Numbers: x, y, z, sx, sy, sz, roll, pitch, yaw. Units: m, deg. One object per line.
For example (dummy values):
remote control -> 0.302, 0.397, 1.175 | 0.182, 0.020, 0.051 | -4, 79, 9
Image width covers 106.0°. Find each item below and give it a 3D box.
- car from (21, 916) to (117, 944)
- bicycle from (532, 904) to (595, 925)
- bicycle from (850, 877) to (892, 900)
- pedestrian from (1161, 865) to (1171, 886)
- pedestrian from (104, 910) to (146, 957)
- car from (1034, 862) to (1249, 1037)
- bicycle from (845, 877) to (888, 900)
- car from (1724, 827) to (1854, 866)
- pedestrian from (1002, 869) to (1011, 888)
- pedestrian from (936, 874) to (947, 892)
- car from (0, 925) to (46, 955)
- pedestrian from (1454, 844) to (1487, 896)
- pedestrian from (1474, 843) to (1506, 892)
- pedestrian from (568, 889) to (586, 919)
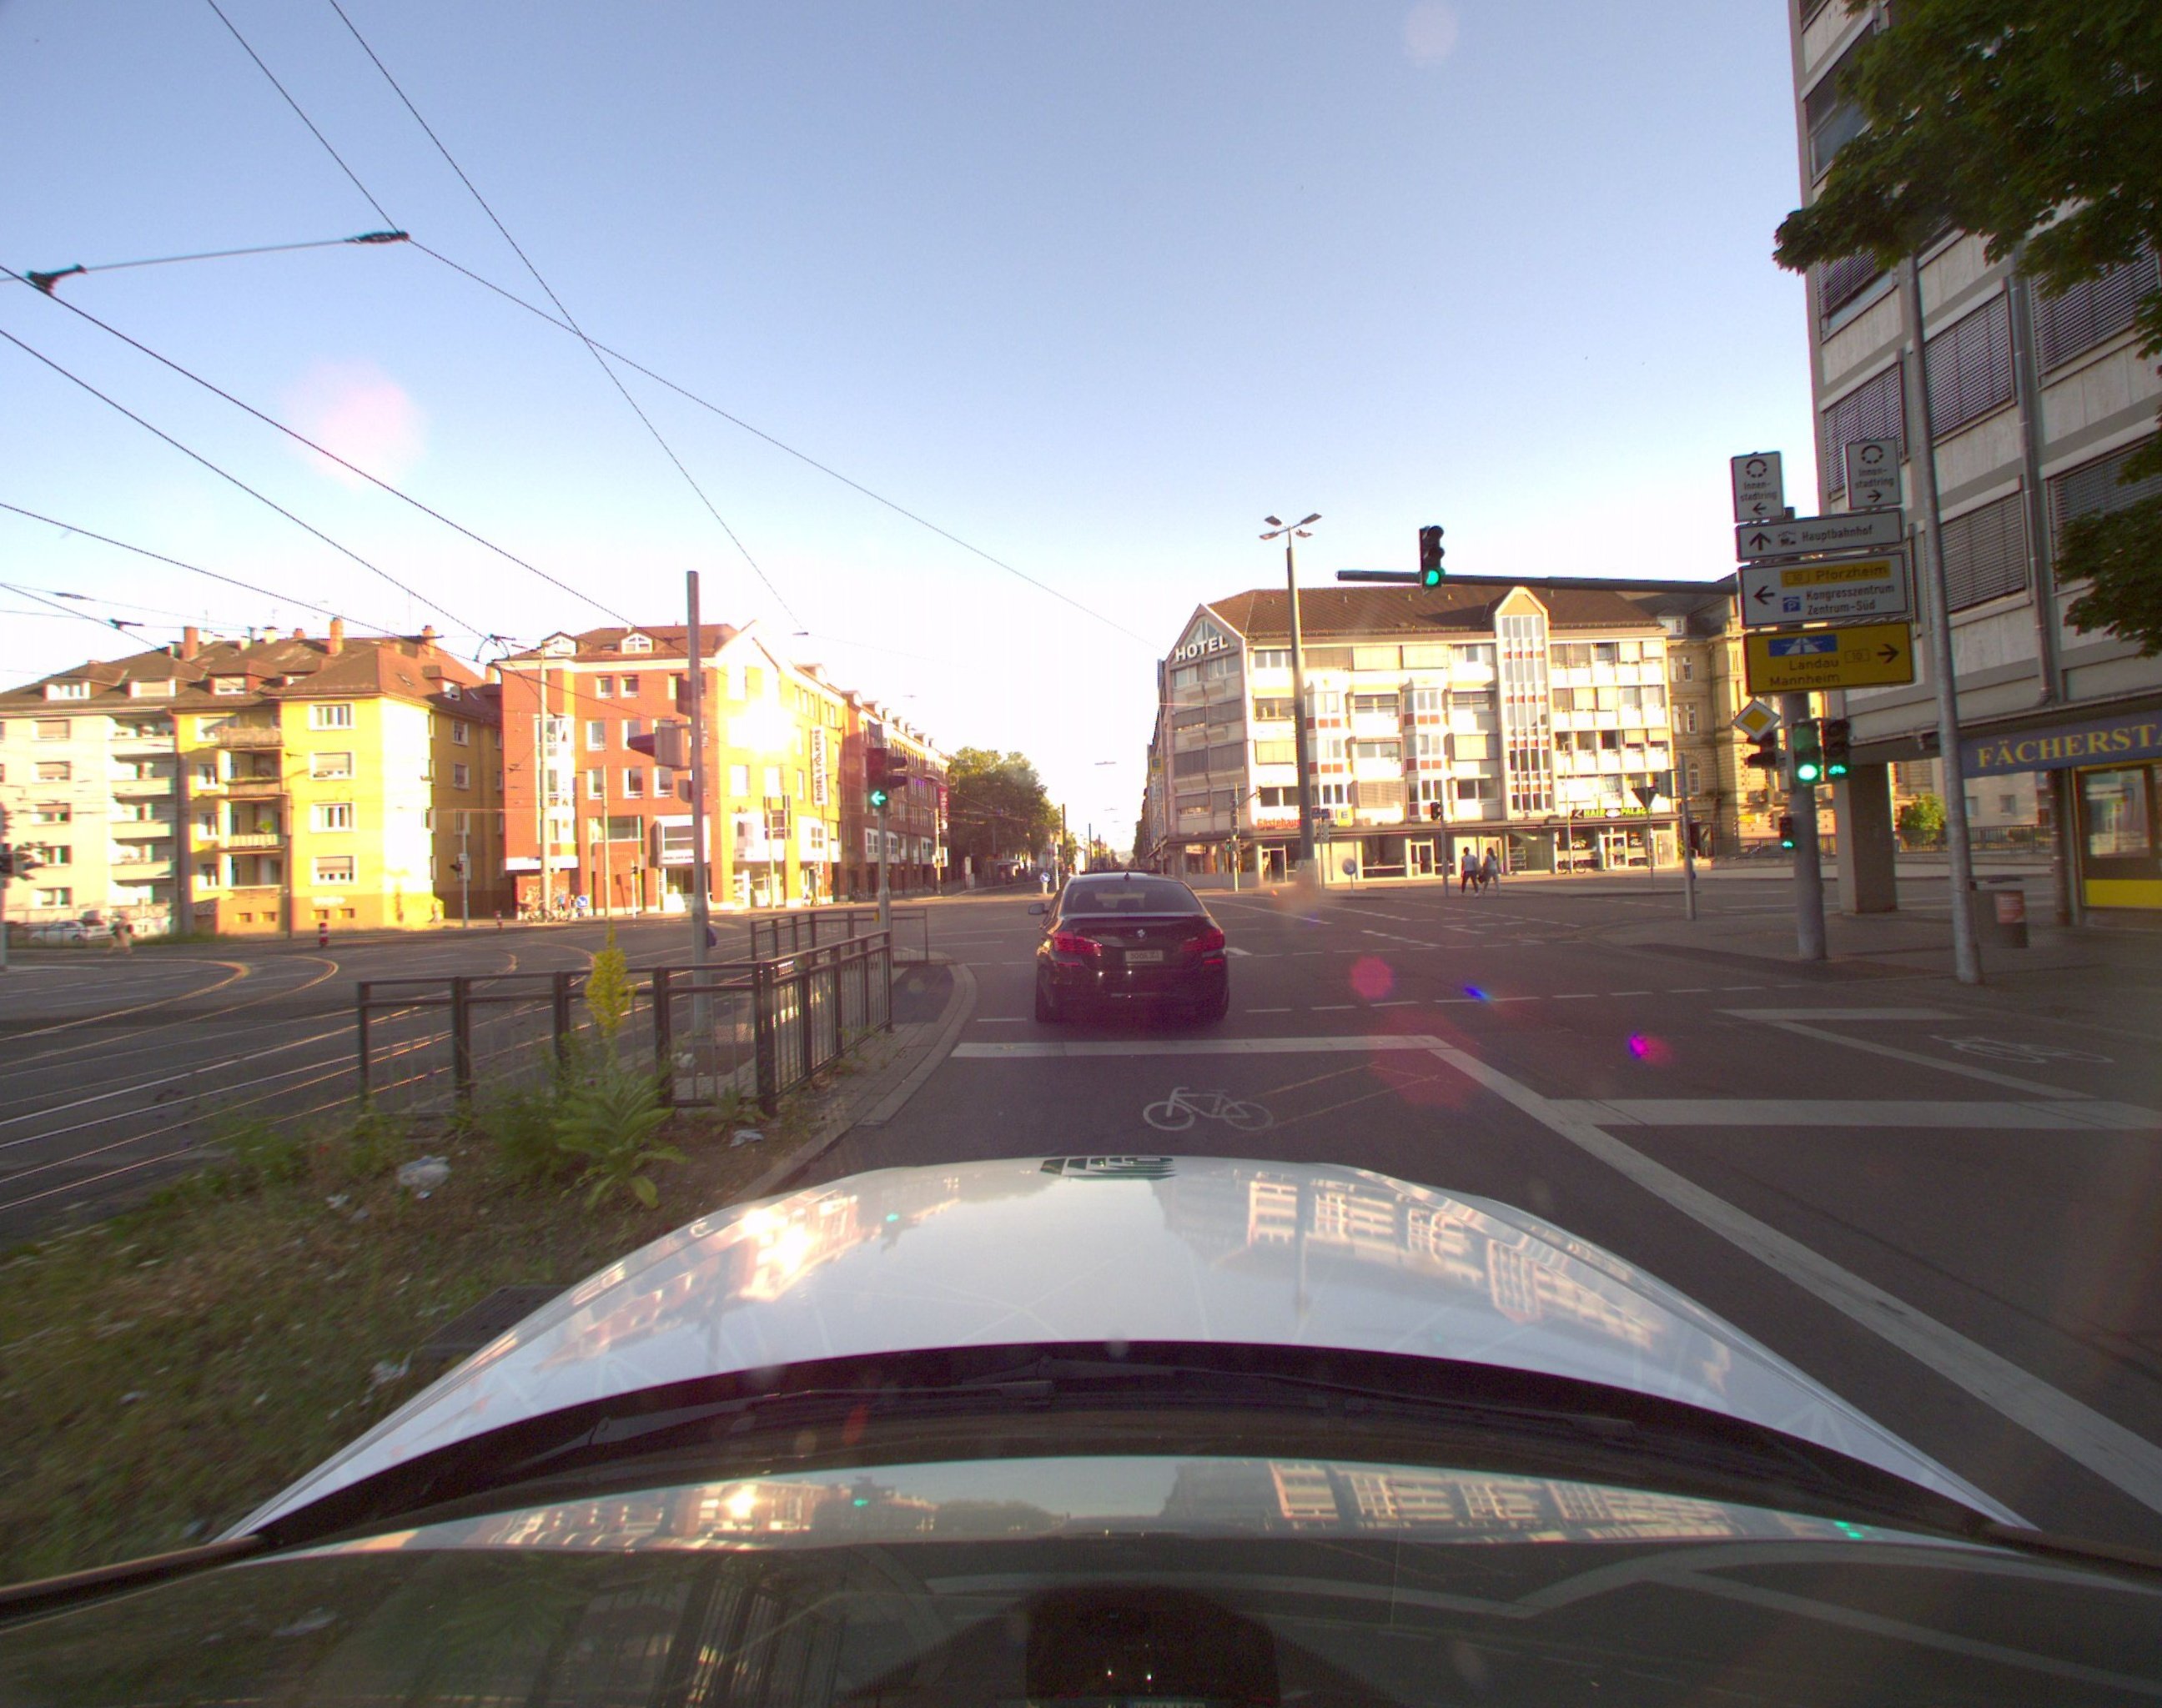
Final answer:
car -> -61.068, 4.577, 49.190 | 3.522, 1.420, 1.738 | -3, -1, -2
bicycle -> -31.487, 3.672, 49.594 | 3.051, 1.017, 0.929 | -3, -1, -7
bicycle -> -18.050, 2.955, 69.956 | 3.285, 1.726, 1.070 | -3, -1, 1
pedestrian -> 6.582, 1.652, 63.066 | 0.703, 1.548, 0.906 | -1, 2, -1
pedestrian -> -32.853, 2.729, 27.988 | 0.630, 1.541, 0.710 | -3, -1, 16
car -> 0.413, 0.857, 9.211 | 1.837, 1.495, 4.285 | 0, -1, -4
bicycle -> -18.127, 2.907, 68.789 | 3.283, 1.726, 1.070 | -3, -1, 3
car -> 36.833, -0.369, 42.472 | 4.572, 1.555, 2.228 | -5, -1, 7
pedestrian -> -7.883, 2.606, 86.274 | 0.806, 2.014, 0.678 | -3, -1, 0
pedestrian -> -16.946, 3.499, 98.616 | 1.082, 2.014, 1.084 | -2, -1, -2
car -> -66.241, 5.274, 49.270 | 4.325, 1.705, 2.117 | -2, -3, -3
pedestrian -> 12.730, 0.520, 26.618 | 0.718, 1.649, 0.776 | -4, -2, 39
pedestrian -> 13.550, 0.434, 26.981 | 0.696, 1.583, 0.831 | -4, -2, 39
pedestrian -> -31.257, 3.103, 50.530 | 0.636, 1.778, 0.813 | -3, -2, -6
